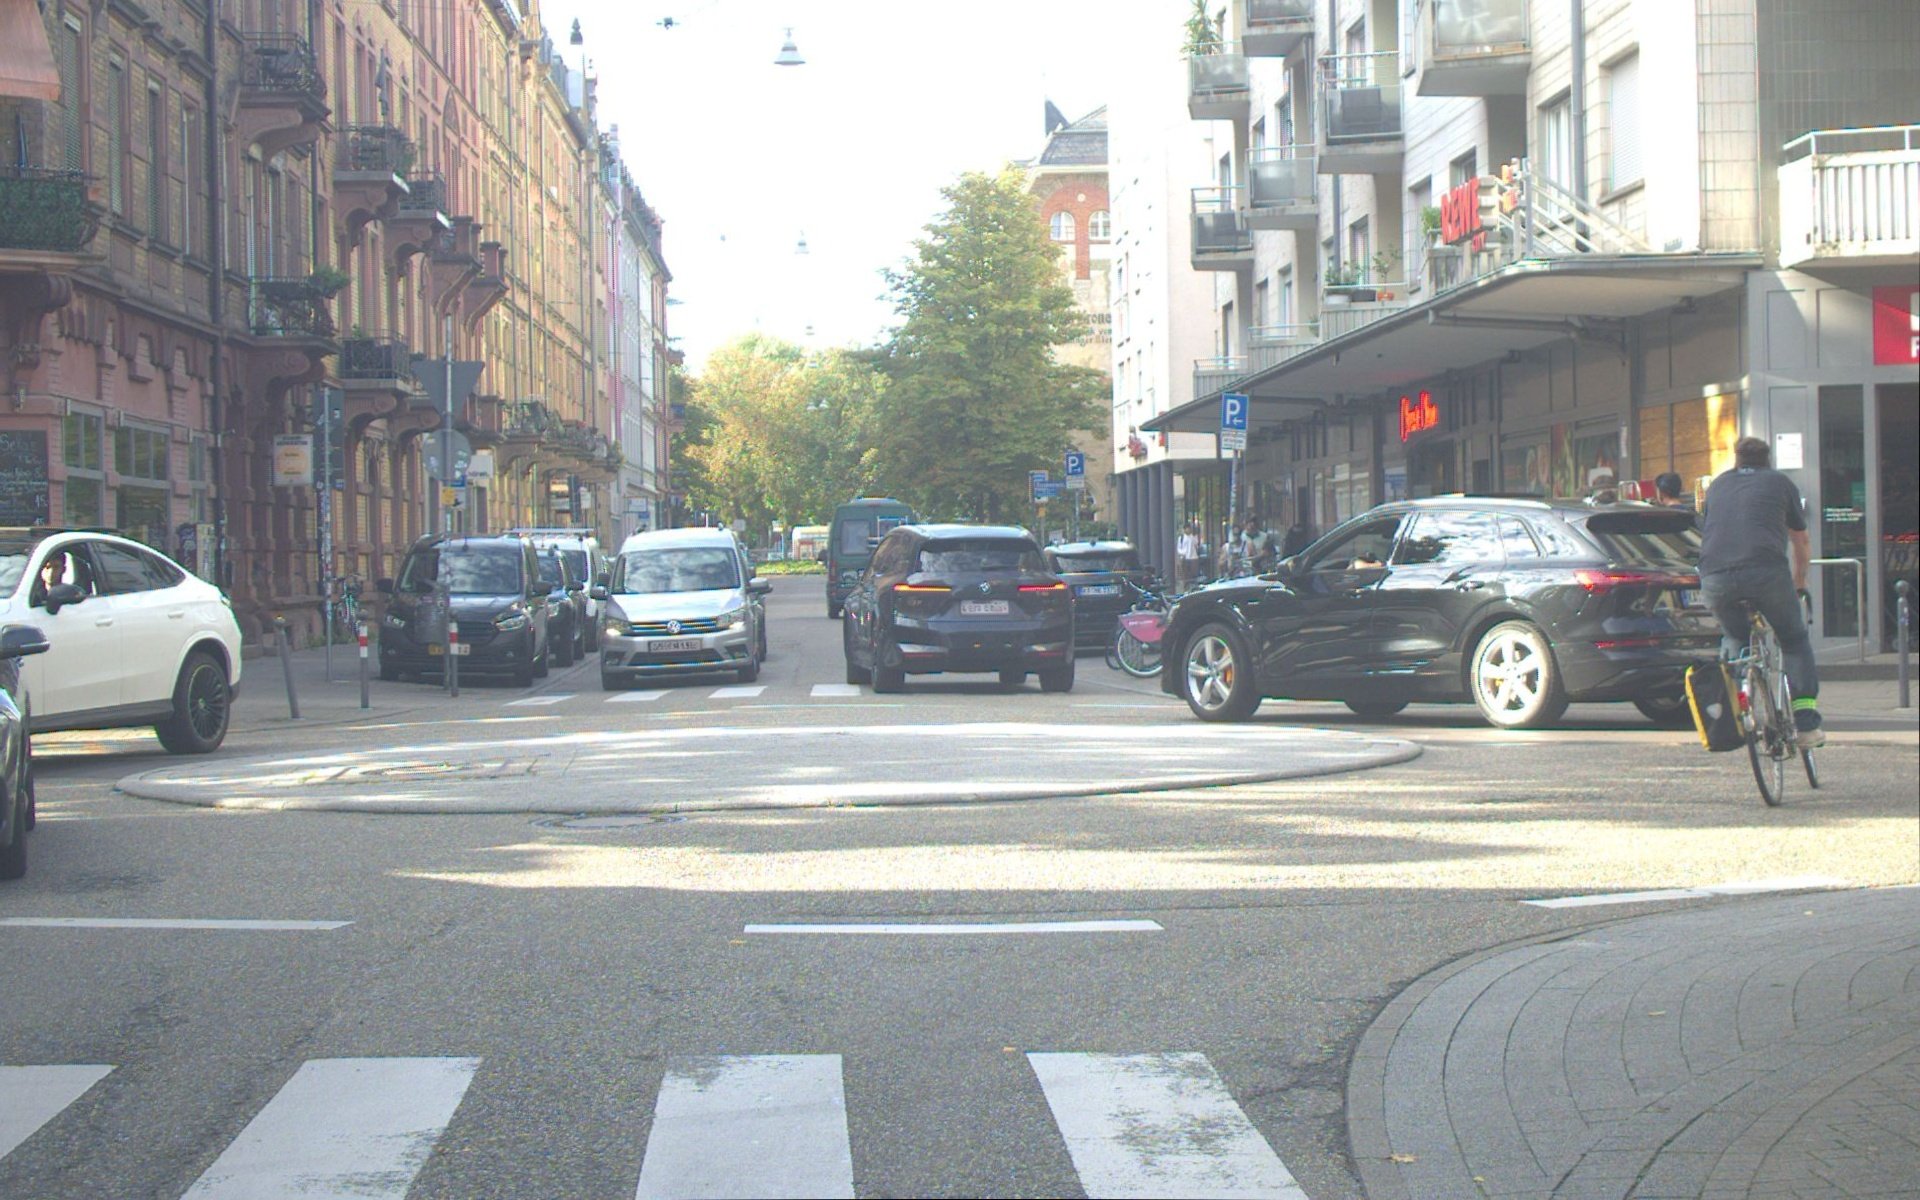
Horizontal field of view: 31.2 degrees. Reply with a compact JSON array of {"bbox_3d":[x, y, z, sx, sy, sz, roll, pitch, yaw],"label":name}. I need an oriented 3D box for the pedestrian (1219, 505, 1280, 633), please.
[{"bbox_3d":[4.289,-0.463,50.899,0.731,1.858,1.062,-1,1,13],"label":"pedestrian"}]

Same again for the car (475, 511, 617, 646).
[{"bbox_3d":[-6.500,-0.361,54.312,1.993,2.007,4.001,-1,1,-4],"label":"car"}]

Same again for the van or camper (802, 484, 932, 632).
[{"bbox_3d":[-2.026,-0.902,73.600,2.531,3.027,4.459,-1,1,-4],"label":"van or camper"}]

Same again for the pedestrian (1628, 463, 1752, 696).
[{"bbox_3d":[5.894,-0.166,27.766,0.869,1.845,0.612,-1,1,3],"label":"pedestrian"}]

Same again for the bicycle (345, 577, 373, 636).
[{"bbox_3d":[-9.979,0.100,57.139,0.360,0.944,1.716,0,1,-7],"label":"bicycle"}]

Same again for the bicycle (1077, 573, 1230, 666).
[{"bbox_3d":[2.265,0.217,40.152,1.785,1.023,0.681,-2,1,-39],"label":"bicycle"}]

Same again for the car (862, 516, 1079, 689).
[{"bbox_3d":[0.048,-0.013,34.723,1.993,1.612,4.001,-1,1,-2],"label":"car"}]

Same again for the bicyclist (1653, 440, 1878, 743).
[{"bbox_3d":[4.052,-0.051,17.282,0.935,1.479,0.746,1,1,27],"label":"bicyclist"}]

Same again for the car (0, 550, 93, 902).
[{"bbox_3d":[-5.055,0.502,15.905,1.749,1.431,4.213,0,0,-10],"label":"car"}]

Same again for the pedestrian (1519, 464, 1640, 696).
[{"bbox_3d":[5.012,-0.162,27.835,0.869,1.845,0.612,-1,1,3],"label":"pedestrian"}]

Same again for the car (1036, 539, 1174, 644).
[{"bbox_3d":[1.982,-0.146,47.761,1.645,1.320,3.577,-3,1,-1],"label":"car"}]

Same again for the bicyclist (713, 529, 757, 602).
[{"bbox_3d":[-6.235,-0.950,95.300,1.132,1.991,1.028,1,0,-6],"label":"bicyclist"}]

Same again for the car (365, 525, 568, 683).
[{"bbox_3d":[-5.963,-0.002,41.983,1.782,1.718,4.445,1,2,1],"label":"car"}]

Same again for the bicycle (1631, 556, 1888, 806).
[{"bbox_3d":[4.092,0.367,17.439,0.667,1.174,2.493,1,1,27],"label":"bicycle"}]

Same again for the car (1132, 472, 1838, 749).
[{"bbox_3d":[3.646,0.027,24.690,2.037,1.718,4.844,-4,3,-39],"label":"car"}]

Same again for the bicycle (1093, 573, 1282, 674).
[{"bbox_3d":[2.460,0.248,37.293,2.000,1.042,0.532,-1,1,1],"label":"bicycle"}]

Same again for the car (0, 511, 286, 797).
[{"bbox_3d":[-6.678,0.354,23.544,1.944,1.716,4.846,-2,3,17],"label":"car"}]

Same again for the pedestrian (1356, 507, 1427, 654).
[{"bbox_3d":[4.865,-0.224,38.706,0.745,1.623,0.812,-1,1,9],"label":"pedestrian"}]

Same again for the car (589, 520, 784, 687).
[{"bbox_3d":[-3.147,-0.004,40.432,1.793,1.784,4.736,-2,1,1],"label":"car"}]
